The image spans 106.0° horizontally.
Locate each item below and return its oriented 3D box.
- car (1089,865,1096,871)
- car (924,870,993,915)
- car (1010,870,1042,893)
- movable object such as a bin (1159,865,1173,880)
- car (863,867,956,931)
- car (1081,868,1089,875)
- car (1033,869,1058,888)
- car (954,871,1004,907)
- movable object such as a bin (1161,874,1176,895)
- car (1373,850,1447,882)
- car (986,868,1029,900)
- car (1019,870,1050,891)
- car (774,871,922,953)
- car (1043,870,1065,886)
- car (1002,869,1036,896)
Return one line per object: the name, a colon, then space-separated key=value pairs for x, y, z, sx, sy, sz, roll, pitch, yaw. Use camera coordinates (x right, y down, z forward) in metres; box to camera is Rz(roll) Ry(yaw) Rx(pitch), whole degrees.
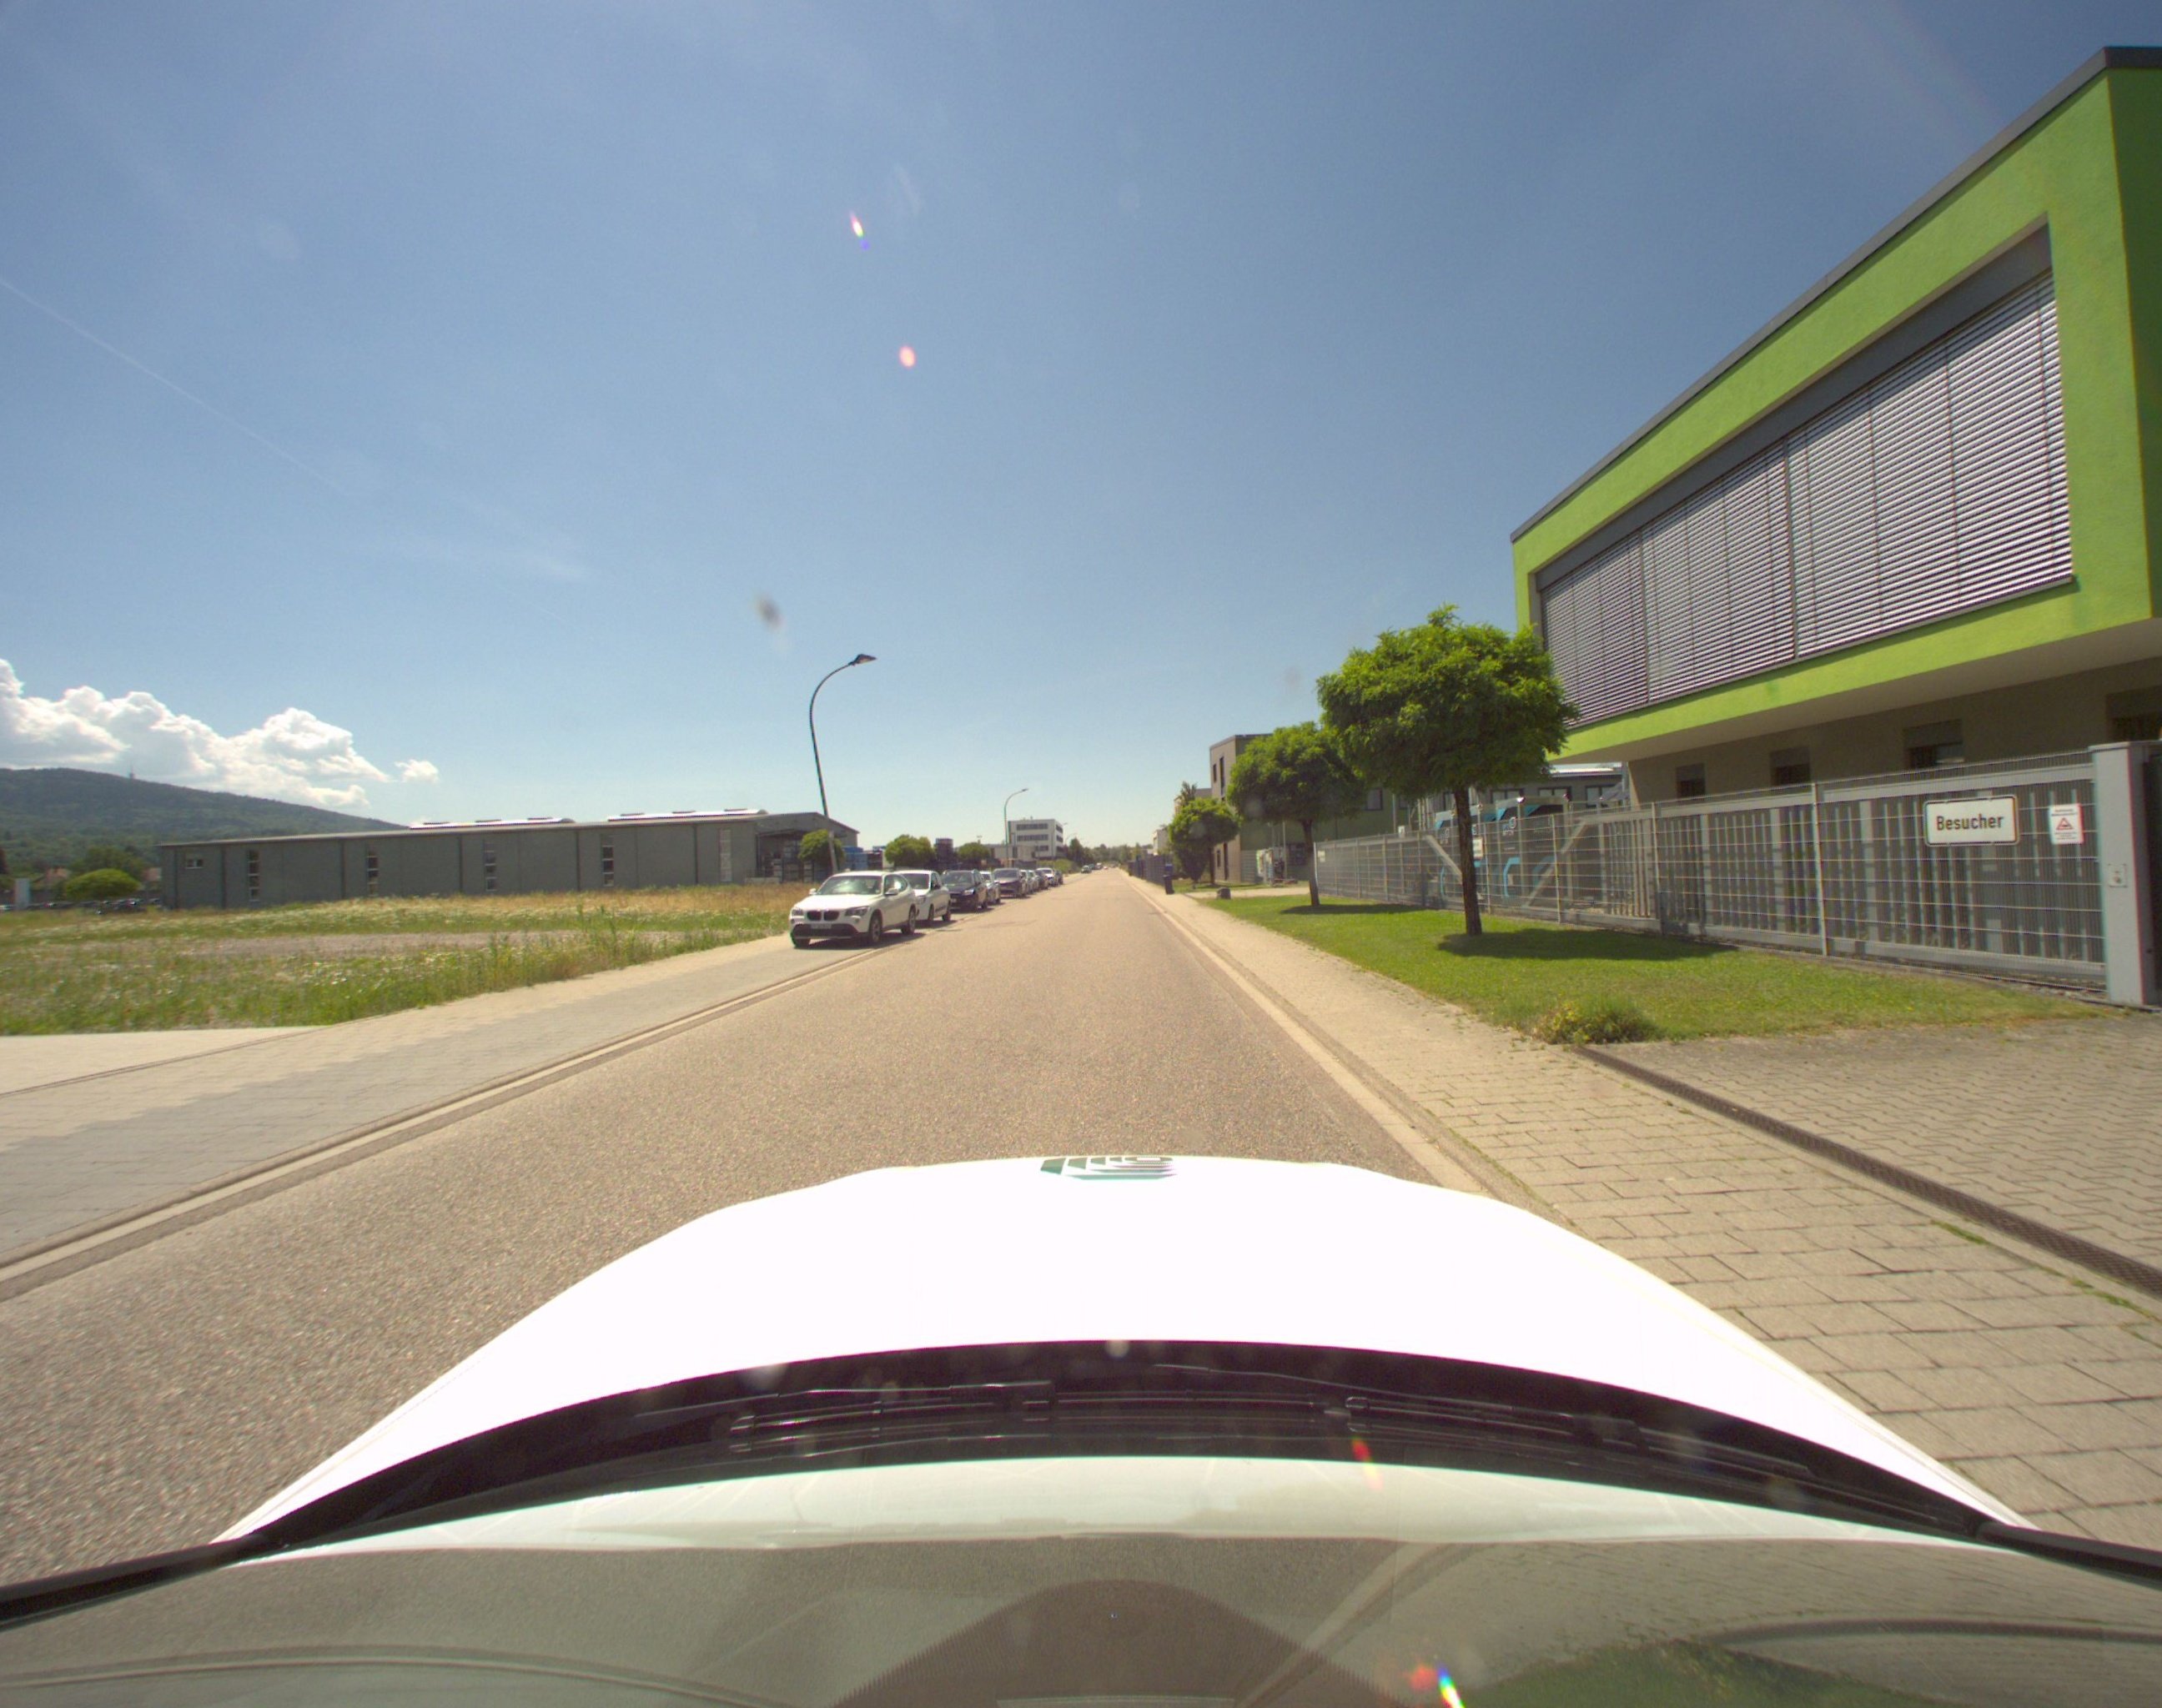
car: x=3.286 y=3.995 z=230.377 sx=1.638 sy=1.490 sz=3.209 roll=-2 pitch=-1 yaw=2
car: x=-4.529 y=1.394 z=30.695 sx=1.756 sy=1.517 sz=4.381 roll=-1 pitch=-1 yaw=2
car: x=-3.720 y=1.836 z=55.845 sx=1.769 sy=1.481 sz=4.816 roll=-1 pitch=-1 yaw=1
movable object such as a bin: x=8.919 y=1.903 z=85.282 sx=1.329 sy=1.459 sz=0.949 roll=-3 pitch=-1 yaw=1
car: x=-4.877 y=1.233 z=23.604 sx=1.781 sy=1.656 sz=3.769 roll=-2 pitch=-1 yaw=1
car: x=0.833 y=3.736 z=175.414 sx=1.461 sy=1.490 sz=3.209 roll=-2 pitch=-1 yaw=2
car: x=-3.001 y=2.062 z=69.484 sx=1.763 sy=1.592 sz=4.360 roll=-1 pitch=-1 yaw=1
car: x=-4.496 y=1.527 z=36.448 sx=1.758 sy=1.451 sz=4.198 roll=-1 pitch=-1 yaw=-1
movable object such as a bin: x=4.181 y=1.450 z=38.928 sx=0.548 sy=0.928 sz=0.523 roll=-6 pitch=-2 yaw=11
car: x=16.459 y=0.588 z=41.038 sx=1.986 sy=1.438 sz=4.614 roll=-2 pitch=0 yaw=2
car: x=-3.937 y=1.576 z=44.157 sx=1.784 sy=1.607 sz=4.463 roll=-1 pitch=-1 yaw=1
car: x=-3.444 y=1.955 z=60.789 sx=1.850 sy=1.481 sz=4.231 roll=-1 pitch=-1 yaw=2
car: x=-5.063 y=1.202 z=18.349 sx=1.779 sy=1.542 sz=4.369 roll=-2 pitch=-1 yaw=4
car: x=-2.658 y=2.354 z=80.652 sx=1.762 sy=1.461 sz=4.335 roll=-1 pitch=-1 yaw=2
car: x=-3.810 y=1.731 z=50.354 sx=1.688 sy=1.525 sz=3.736 roll=-1 pitch=-1 yaw=1
